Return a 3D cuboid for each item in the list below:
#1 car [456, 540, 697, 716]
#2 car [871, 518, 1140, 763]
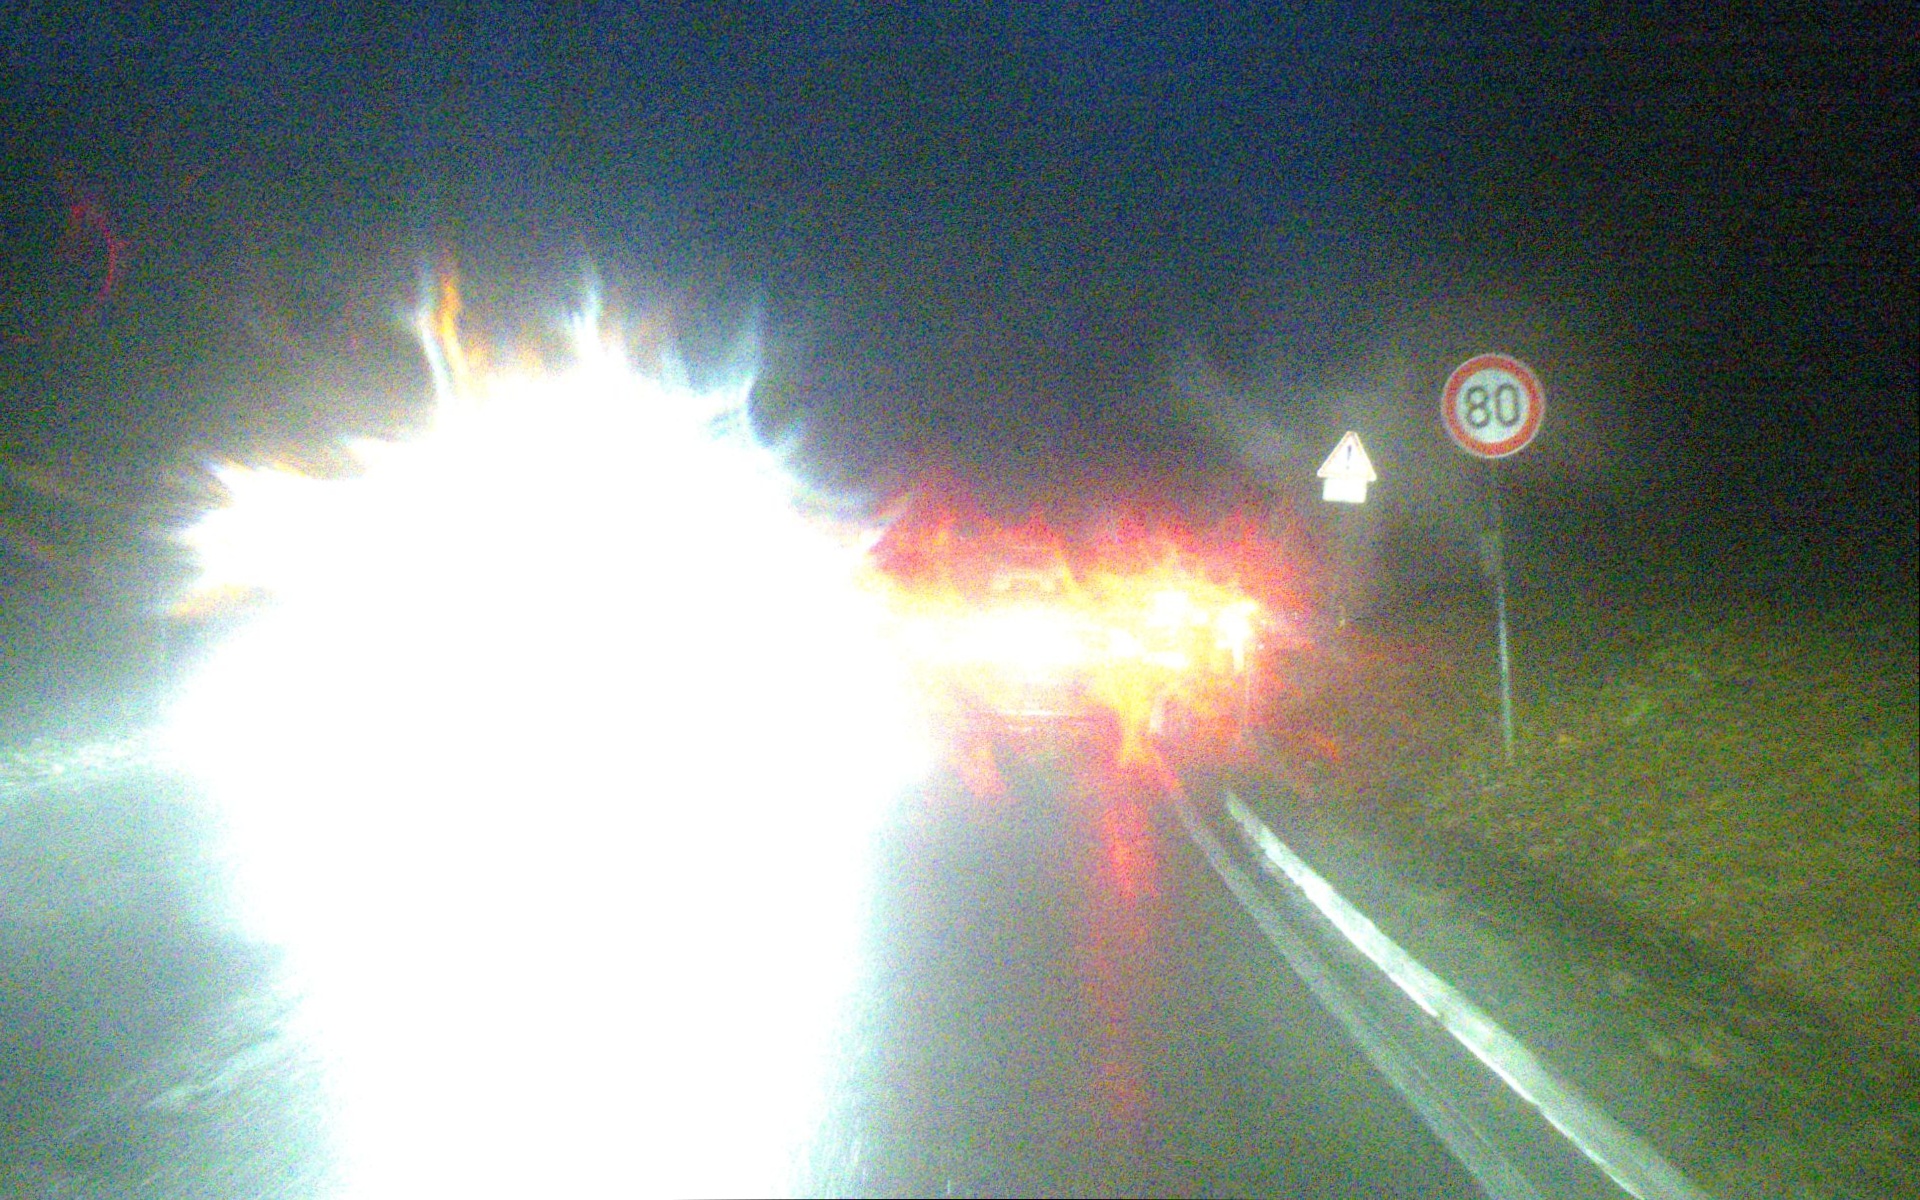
[{"bbox_3d":[-3.572,0.216,32.669,1.765,1.537,4.148,0,1,1],"label":"car"},{"bbox_3d":[0.354,0.285,27.978,1.993,1.801,3.917,-1,1,0],"label":"car"}]
